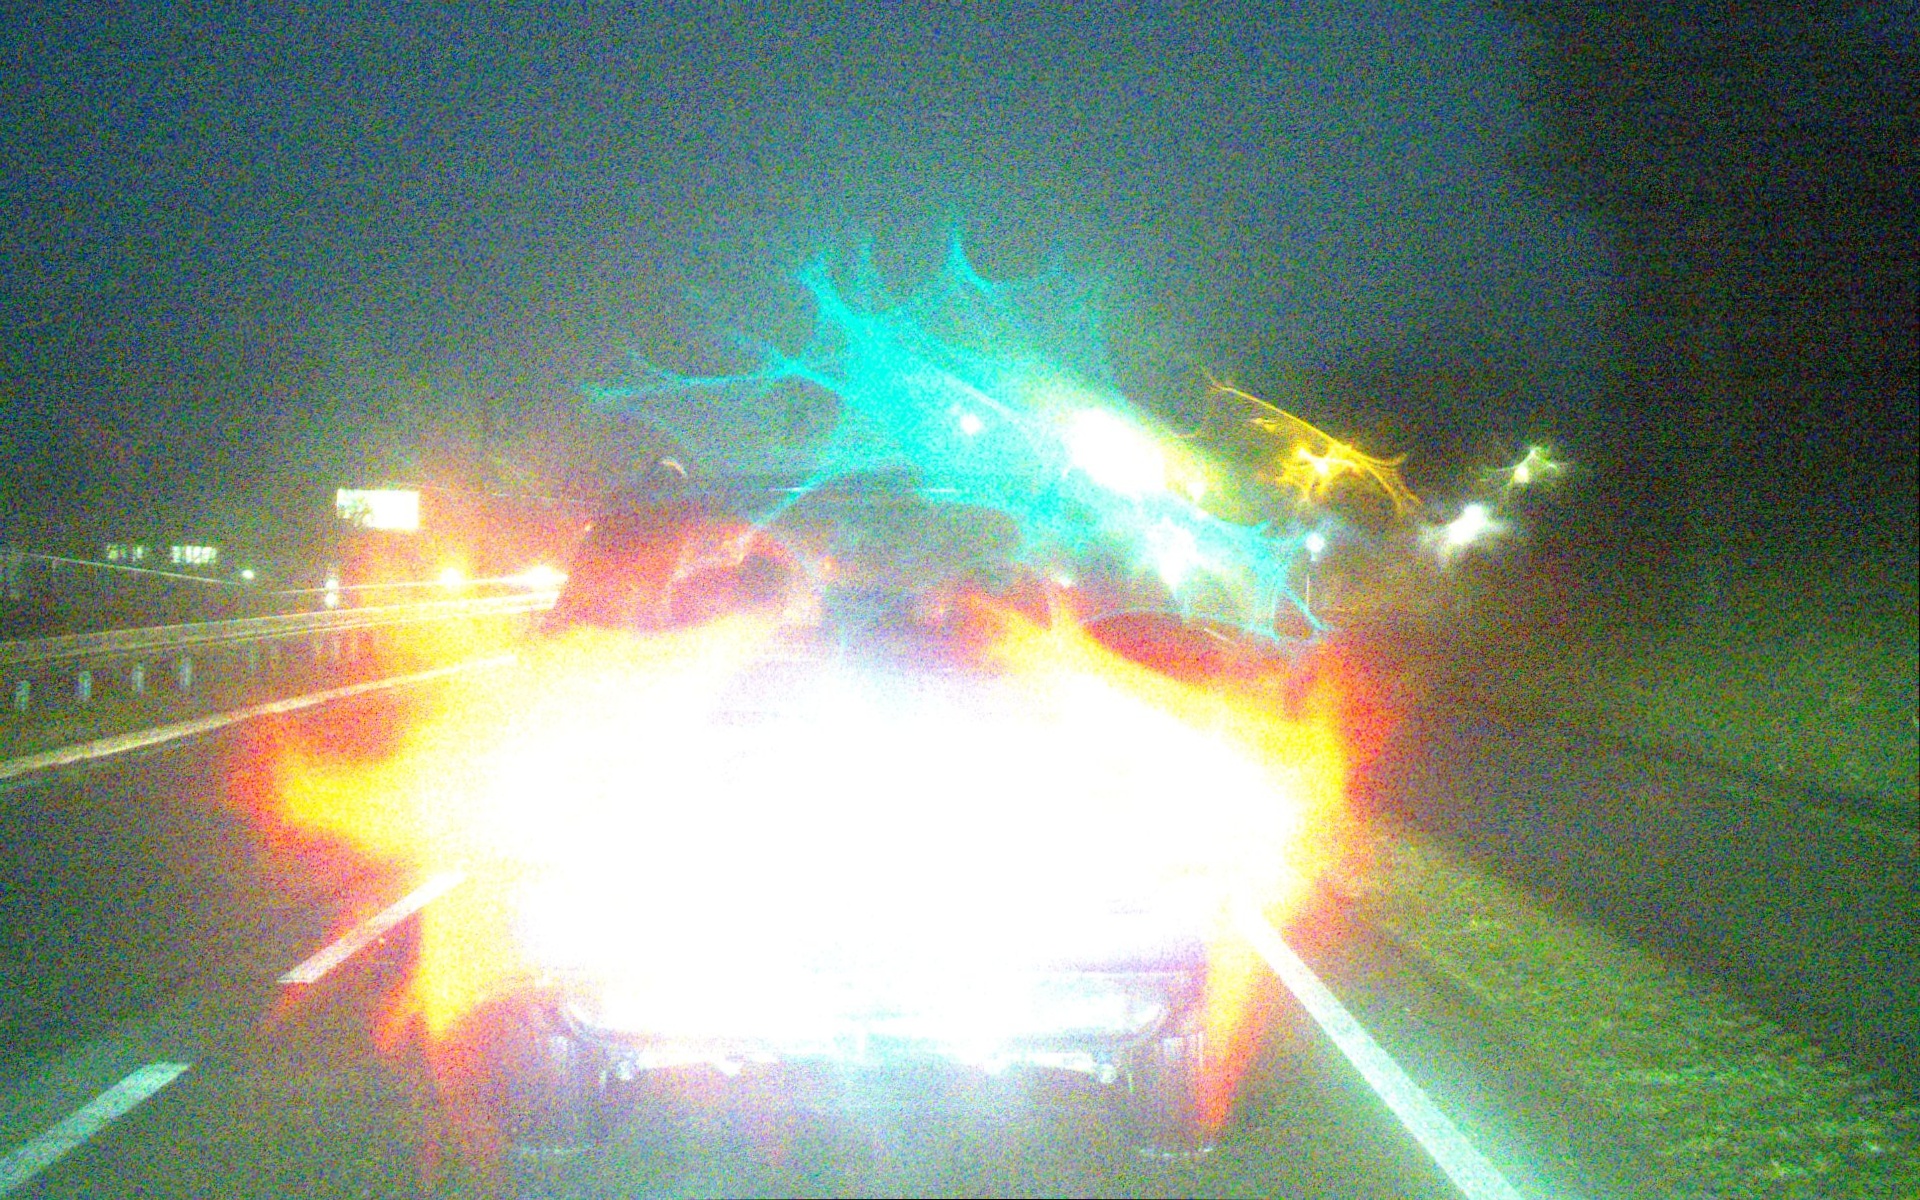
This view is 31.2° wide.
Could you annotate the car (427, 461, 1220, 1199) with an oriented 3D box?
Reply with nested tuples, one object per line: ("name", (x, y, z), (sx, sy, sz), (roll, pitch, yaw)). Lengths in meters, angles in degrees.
("car", (-0.309, 0.536, 9.750), (1.775, 1.706, 4.000), (0, 0, 0))
